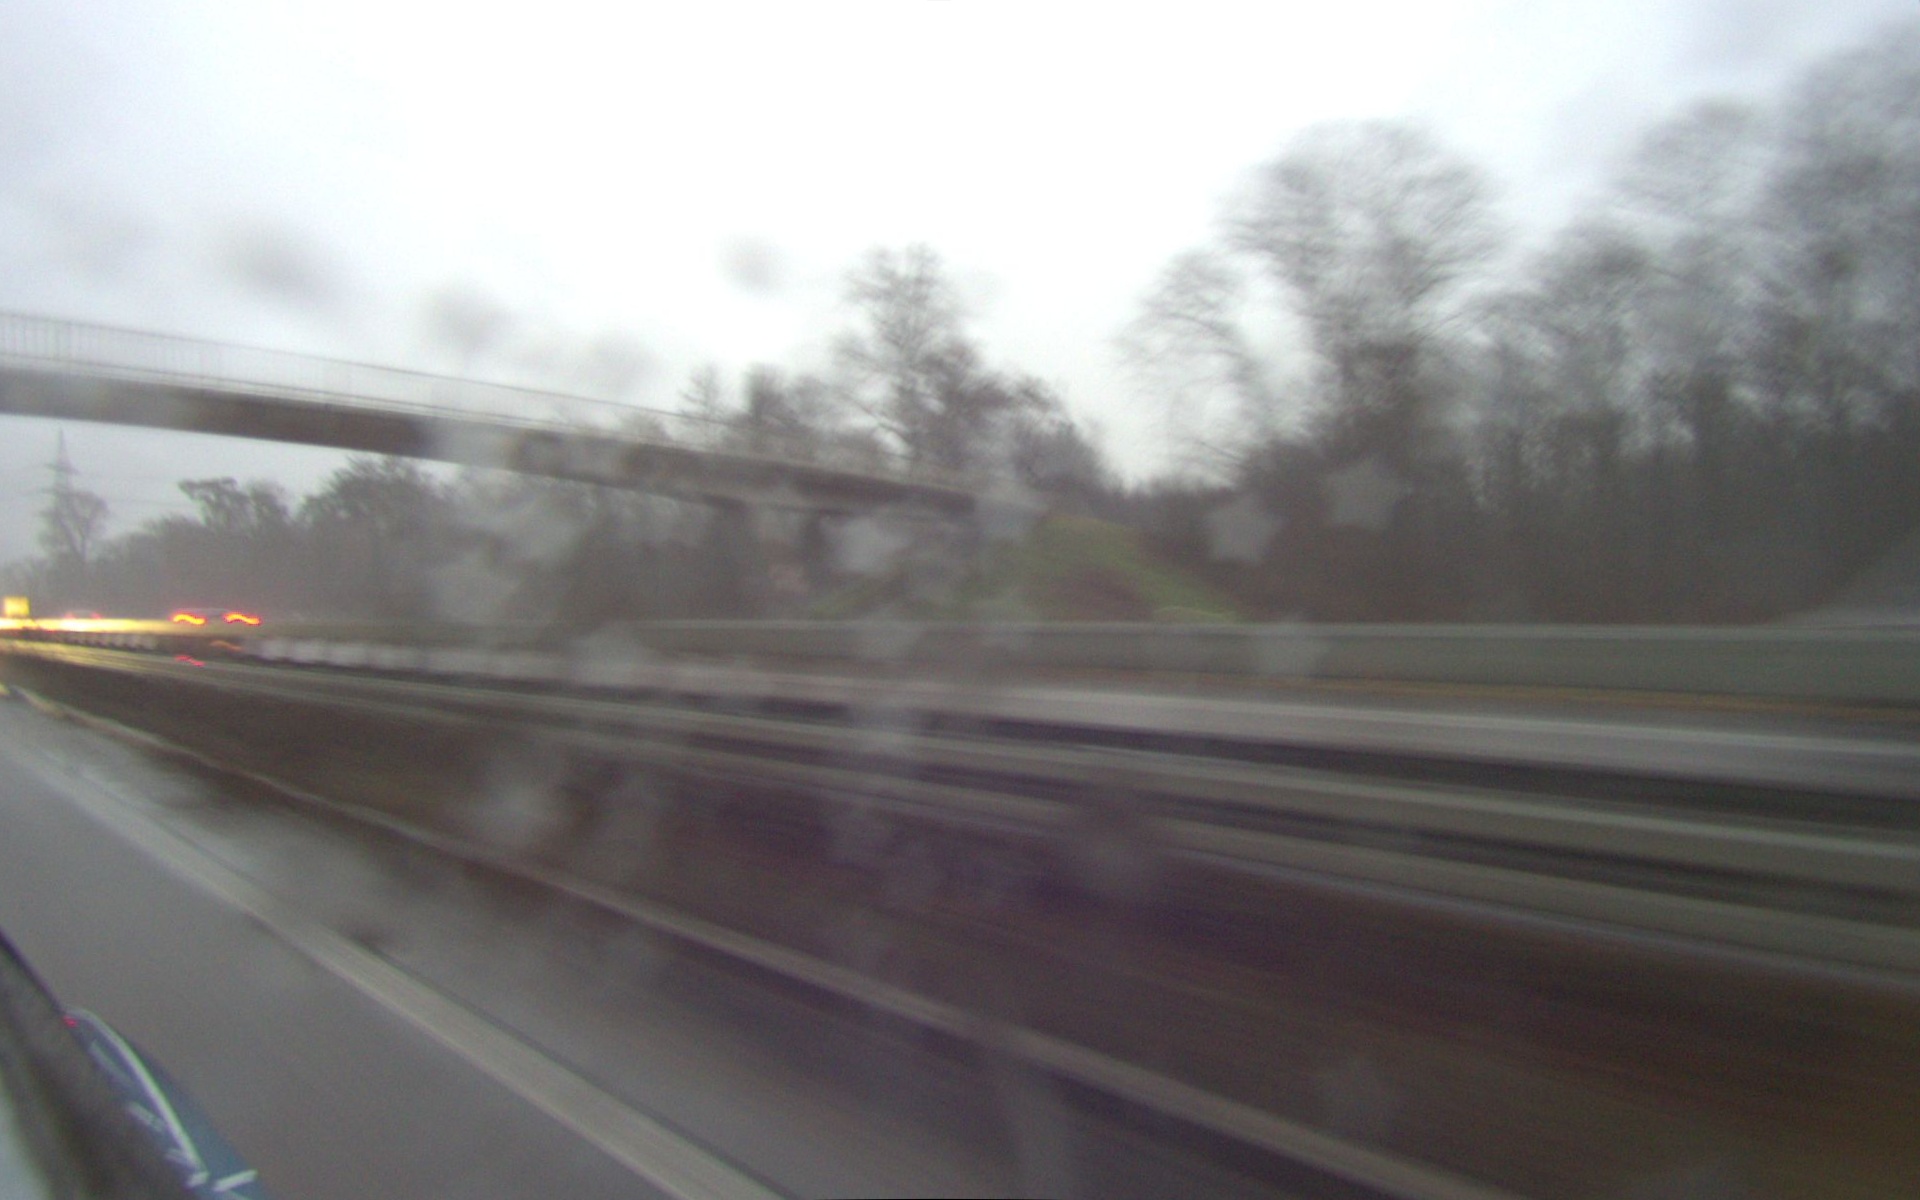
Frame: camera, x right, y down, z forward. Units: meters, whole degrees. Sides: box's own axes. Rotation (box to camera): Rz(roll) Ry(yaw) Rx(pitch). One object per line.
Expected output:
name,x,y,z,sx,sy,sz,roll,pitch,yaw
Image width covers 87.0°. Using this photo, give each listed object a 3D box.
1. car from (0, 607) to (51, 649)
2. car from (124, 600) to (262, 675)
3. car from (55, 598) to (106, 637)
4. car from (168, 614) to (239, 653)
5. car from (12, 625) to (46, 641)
car,-42.852,1.240,45.993,4.614,1.781,1.716,-1,1,41
car,-20.662,0.946,27.167,5.258,1.781,1.885,-1,1,41
car,-57.235,1.129,65.808,4.677,2.430,1.972,-1,0,42
car,-33.356,1.427,44.574,3.999,1.619,1.761,-1,0,42
car,-83.705,2.929,90.937,4.248,1.369,1.749,-1,0,41
